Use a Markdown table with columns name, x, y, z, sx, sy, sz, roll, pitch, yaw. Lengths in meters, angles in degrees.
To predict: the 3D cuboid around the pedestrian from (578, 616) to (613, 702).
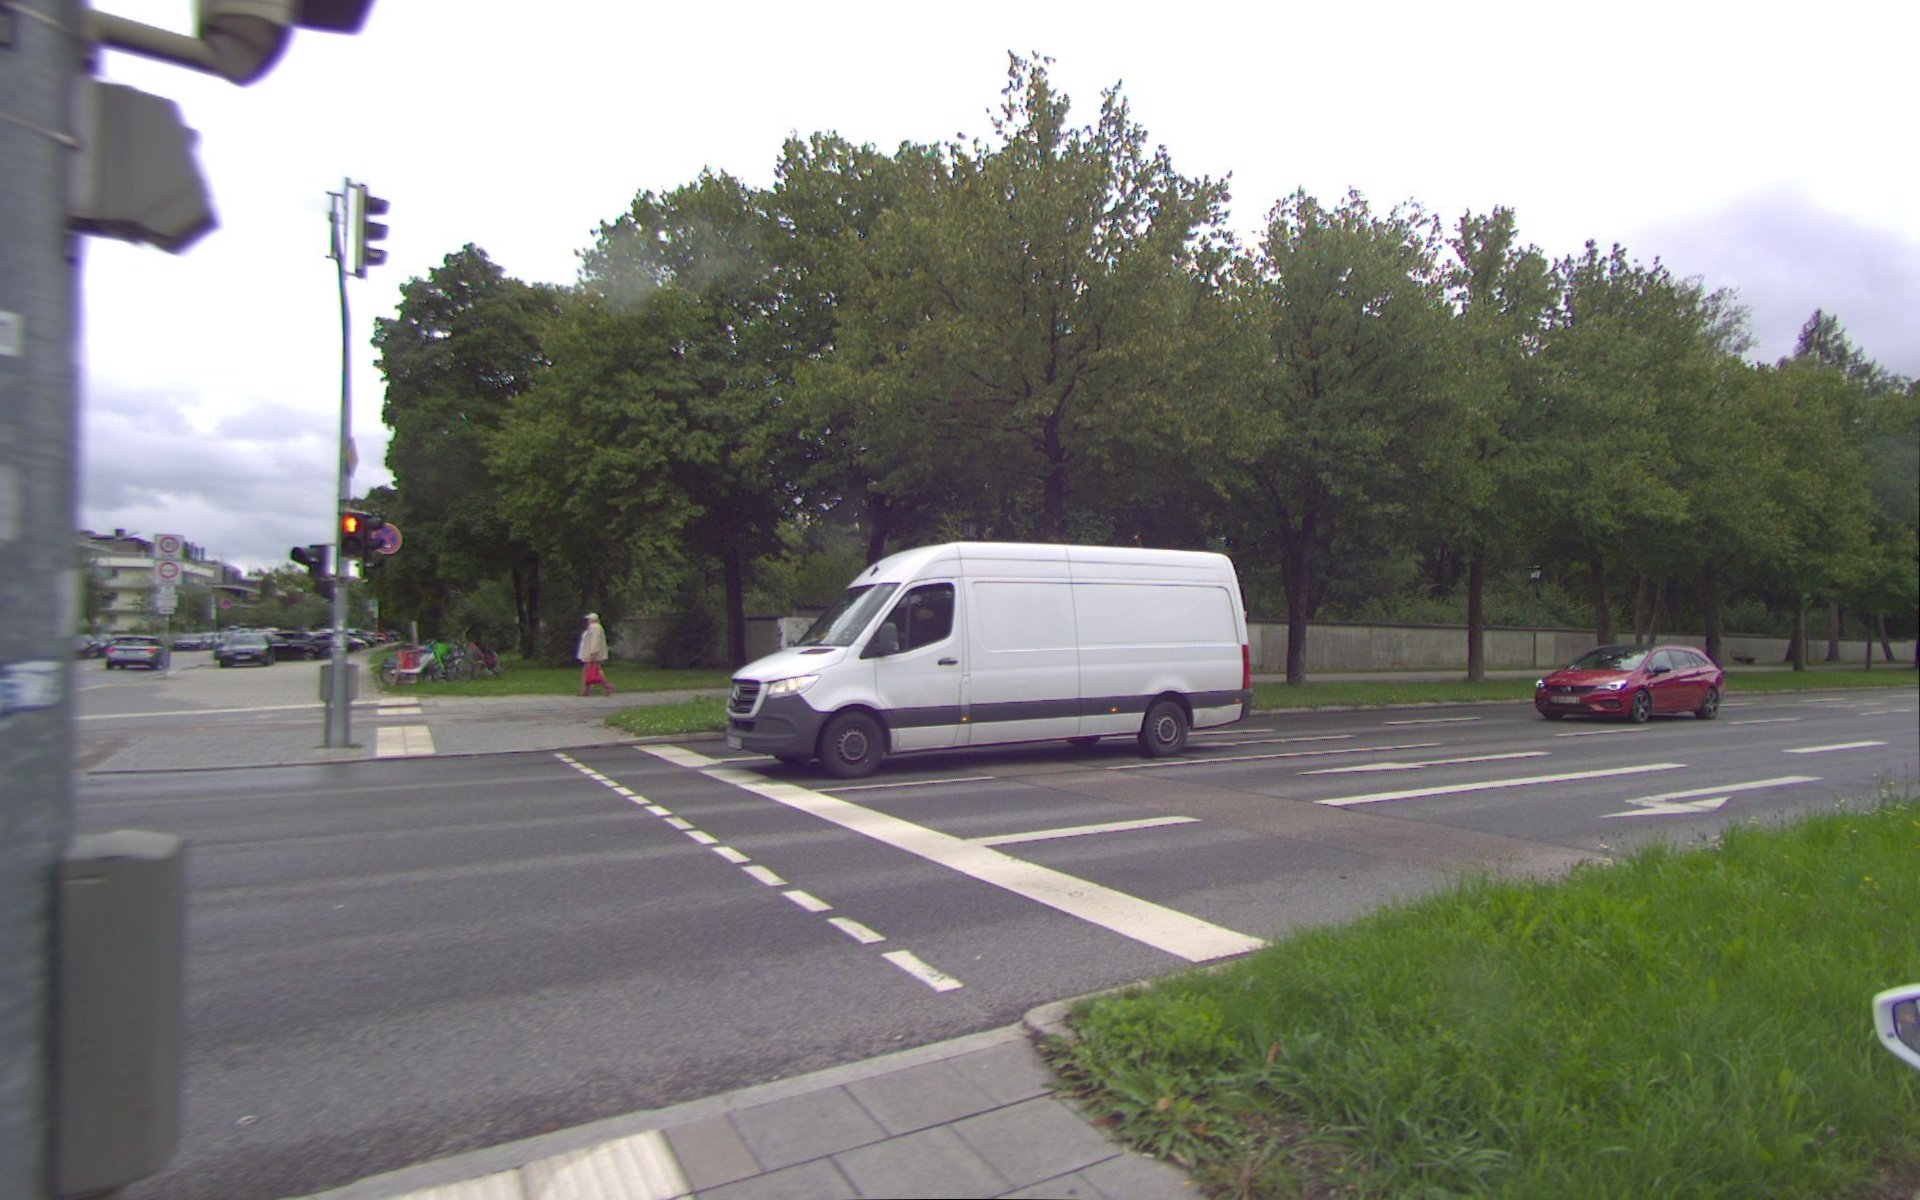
| name | x | y | z | sx | sy | sz | roll | pitch | yaw |
| --- | --- | --- | --- | --- | --- | --- | --- | --- | --- |
| pedestrian | -7.678 | 1.226 | 21.128 | 0.512 | 1.763 | 0.703 | 1 | -2 | -34 |

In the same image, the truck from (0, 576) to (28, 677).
| name | x | y | z | sx | sy | sz | roll | pitch | yaw |
| --- | --- | --- | --- | --- | --- | --- | --- | --- | --- |
| truck | -34.202 | 0.865 | 32.894 | 2.732 | 3.534 | 7.783 | 1 | -2 | -22 |

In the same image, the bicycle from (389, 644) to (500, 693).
| name | x | y | z | sx | sy | sz | roll | pitch | yaw |
| --- | --- | --- | --- | --- | --- | --- | --- | --- | --- |
| bicycle | -13.256 | 1.745 | 25.847 | 2.468 | 1.201 | 0.831 | 2 | -2 | -32 |

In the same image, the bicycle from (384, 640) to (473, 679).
| name | x | y | z | sx | sy | sz | roll | pitch | yaw |
| --- | --- | --- | --- | --- | --- | --- | --- | --- | --- |
| bicycle | -16.961 | 1.887 | 32.079 | 2.468 | 1.201 | 0.831 | 2 | -2 | -32 |

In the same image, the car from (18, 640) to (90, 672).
| name | x | y | z | sx | sy | sz | roll | pitch | yaw |
| --- | --- | --- | --- | --- | --- | --- | --- | --- | --- |
| car | -47.897 | 2.931 | 53.201 | 1.904 | 1.612 | 4.183 | 1 | -2 | -29 |

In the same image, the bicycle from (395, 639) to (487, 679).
| name | x | y | z | sx | sy | sz | roll | pitch | yaw |
| --- | --- | --- | --- | --- | --- | --- | --- | --- | --- |
| bicycle | -16.192 | 1.843 | 31.341 | 2.468 | 1.201 | 0.831 | 3 | -4 | -32 |

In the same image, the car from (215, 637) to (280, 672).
| name | x | y | z | sx | sy | sz | roll | pitch | yaw |
| --- | --- | --- | --- | --- | --- | --- | --- | --- | --- |
| car | -31.282 | 2.360 | 44.199 | 1.822 | 1.435 | 4.183 | 1 | -2 | -29 |

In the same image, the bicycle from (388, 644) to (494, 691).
| name | x | y | z | sx | sy | sz | roll | pitch | yaw |
| --- | --- | --- | --- | --- | --- | --- | --- | --- | --- |
| bicycle | -13.904 | 1.792 | 26.941 | 2.468 | 1.201 | 0.831 | 2 | -2 | -32 |

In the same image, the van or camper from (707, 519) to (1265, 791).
| name | x | y | z | sx | sy | sz | roll | pitch | yaw |
| --- | --- | --- | --- | --- | --- | --- | --- | --- | --- |
| van or camper | 0.524 | 0.671 | 12.577 | 6.868 | 2.681 | 2.169 | 1 | -4 | -30 |

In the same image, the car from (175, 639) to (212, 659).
| name | x | y | z | sx | sy | sz | roll | pitch | yaw |
| --- | --- | --- | --- | --- | --- | --- | --- | --- | --- |
| car | -65.156 | 4.158 | 85.460 | 1.904 | 1.612 | 4.183 | 1 | -2 | -29 |

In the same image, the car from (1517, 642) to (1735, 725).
| name | x | y | z | sx | sy | sz | roll | pitch | yaw |
| --- | --- | --- | --- | --- | --- | --- | --- | --- | --- |
| car | 13.287 | 1.605 | 19.970 | 4.603 | 1.470 | 1.735 | 1 | -4 | -30 |

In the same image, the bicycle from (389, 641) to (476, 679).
| name | x | y | z | sx | sy | sz | roll | pitch | yaw |
| --- | --- | --- | --- | --- | --- | --- | --- | --- | --- |
| bicycle | -17.370 | 1.955 | 33.096 | 2.468 | 1.201 | 0.831 | 2 | -2 | -32 |

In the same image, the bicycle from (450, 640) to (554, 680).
| name | x | y | z | sx | sy | sz | roll | pitch | yaw |
| --- | --- | --- | --- | --- | --- | --- | --- | --- | --- |
| bicycle | -14.283 | 1.866 | 31.374 | 2.851 | 1.201 | 0.831 | 2 | -2 | -32 |

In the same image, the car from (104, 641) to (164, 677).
| name | x | y | z | sx | sy | sz | roll | pitch | yaw |
| --- | --- | --- | --- | --- | --- | --- | --- | --- | --- |
| car | -36.011 | 2.576 | 43.888 | 1.916 | 1.481 | 4.317 | 2 | -4 | -39 |

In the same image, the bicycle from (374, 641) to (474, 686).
| name | x | y | z | sx | sy | sz | roll | pitch | yaw |
| --- | --- | --- | --- | --- | --- | --- | --- | --- | --- |
| bicycle | -15.194 | 1.779 | 28.504 | 2.468 | 1.201 | 0.831 | 2 | -2 | -32 |

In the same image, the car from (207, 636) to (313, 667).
| name | x | y | z | sx | sy | sz | roll | pitch | yaw |
| --- | --- | --- | --- | --- | --- | --- | --- | --- | --- |
| car | -35.050 | 2.558 | 50.367 | 4.183 | 1.435 | 1.903 | 2 | -2 | -42 |
